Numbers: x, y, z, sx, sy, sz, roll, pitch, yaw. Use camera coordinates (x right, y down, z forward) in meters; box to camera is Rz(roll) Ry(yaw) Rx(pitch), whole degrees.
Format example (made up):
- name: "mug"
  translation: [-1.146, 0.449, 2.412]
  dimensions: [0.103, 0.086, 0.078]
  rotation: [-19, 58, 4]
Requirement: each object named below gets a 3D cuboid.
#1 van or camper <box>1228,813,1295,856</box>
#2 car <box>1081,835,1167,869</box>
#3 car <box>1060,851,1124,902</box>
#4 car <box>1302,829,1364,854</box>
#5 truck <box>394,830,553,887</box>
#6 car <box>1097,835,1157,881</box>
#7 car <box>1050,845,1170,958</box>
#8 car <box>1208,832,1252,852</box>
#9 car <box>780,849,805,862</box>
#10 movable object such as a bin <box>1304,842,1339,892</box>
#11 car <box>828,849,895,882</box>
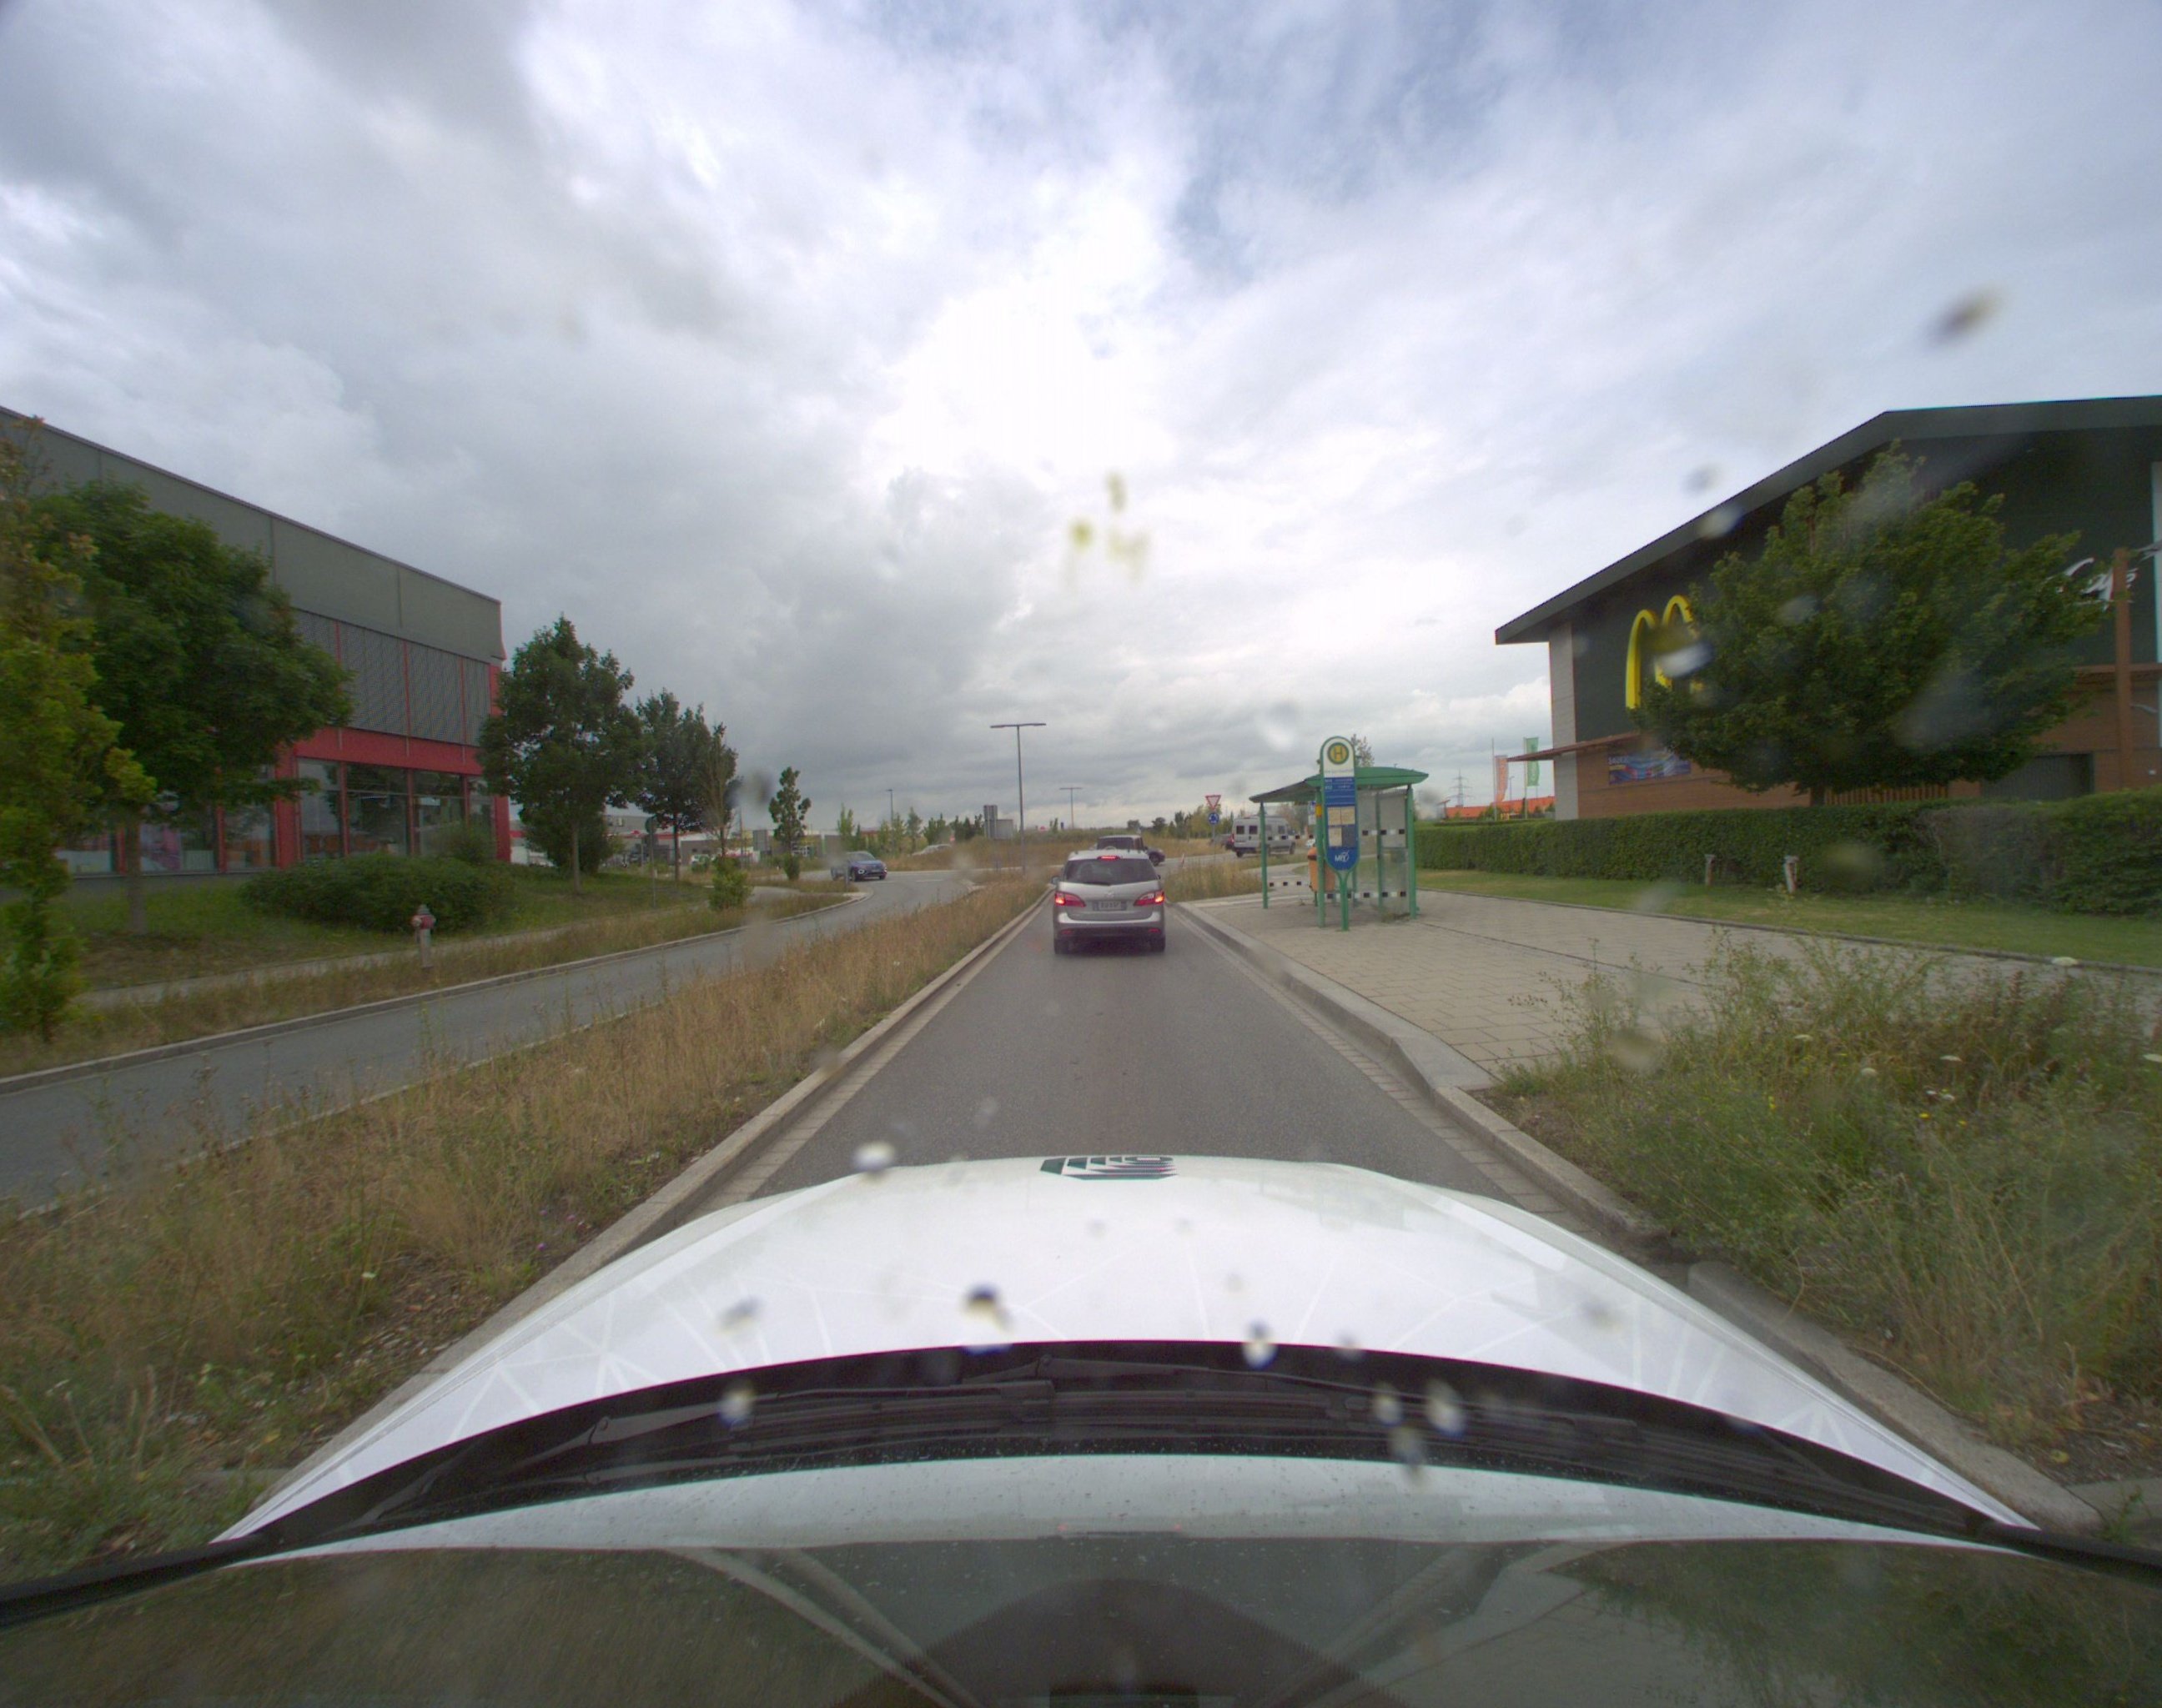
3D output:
- name: "van or camper"
  translation: [11.364, -1.187, 51.047]
  dimensions: [2.280, 2.506, 5.239]
  rotation: [-1, 0, 34]
- name: "car"
  translation: [2.336, -0.134, 44.489]
  dimensions: [4.198, 1.592, 2.054]
  rotation: [-4, 1, -15]
- name: "car"
  translation: [0.441, 0.663, 26.314]
  dimensions: [1.837, 1.418, 4.228]
  rotation: [-2, 1, 3]
- name: "car"
  translation: [20.164, -0.988, 65.359]
  dimensions: [4.572, 1.757, 2.007]
  rotation: [-2, 0, 11]
- name: "truck"
  translation: [-46.498, 0.298, 62.616]
  dimensions: [9.295, 3.906, 3.136]
  rotation: [-2, 0, -7]
- name: "car"
  translation: [2.129, 0.149, 36.291]
  dimensions: [2.046, 1.826, 4.799]
  rotation: [-2, 0, 10]
- name: "car"
  translation: [0.433, 0.669, 13.746]
  dimensions: [1.724, 1.600, 3.807]
  rotation: [-1, 1, 0]
- name: "car"
  translation: [11.960, -0.941, 65.648]
  dimensions: [1.997, 1.515, 3.980]
  rotation: [-2, 0, -14]
- name: "car"
  translation: [-41.691, 0.233, 117.808]
  dimensions: [1.986, 1.859, 4.003]
  rotation: [-2, 0, 2]
- name: "movable object such as a bin"
  translation: [3.927, 0.211, 13.314]
  dimensions: [0.454, 0.798, 0.380]
  rotation: [-2, 0, 0]
- name: "car"
  translation: [-12.081, 0.647, 44.667]
  dimensions: [1.857, 1.528, 4.178]
  rotation: [-4, 0, -40]
